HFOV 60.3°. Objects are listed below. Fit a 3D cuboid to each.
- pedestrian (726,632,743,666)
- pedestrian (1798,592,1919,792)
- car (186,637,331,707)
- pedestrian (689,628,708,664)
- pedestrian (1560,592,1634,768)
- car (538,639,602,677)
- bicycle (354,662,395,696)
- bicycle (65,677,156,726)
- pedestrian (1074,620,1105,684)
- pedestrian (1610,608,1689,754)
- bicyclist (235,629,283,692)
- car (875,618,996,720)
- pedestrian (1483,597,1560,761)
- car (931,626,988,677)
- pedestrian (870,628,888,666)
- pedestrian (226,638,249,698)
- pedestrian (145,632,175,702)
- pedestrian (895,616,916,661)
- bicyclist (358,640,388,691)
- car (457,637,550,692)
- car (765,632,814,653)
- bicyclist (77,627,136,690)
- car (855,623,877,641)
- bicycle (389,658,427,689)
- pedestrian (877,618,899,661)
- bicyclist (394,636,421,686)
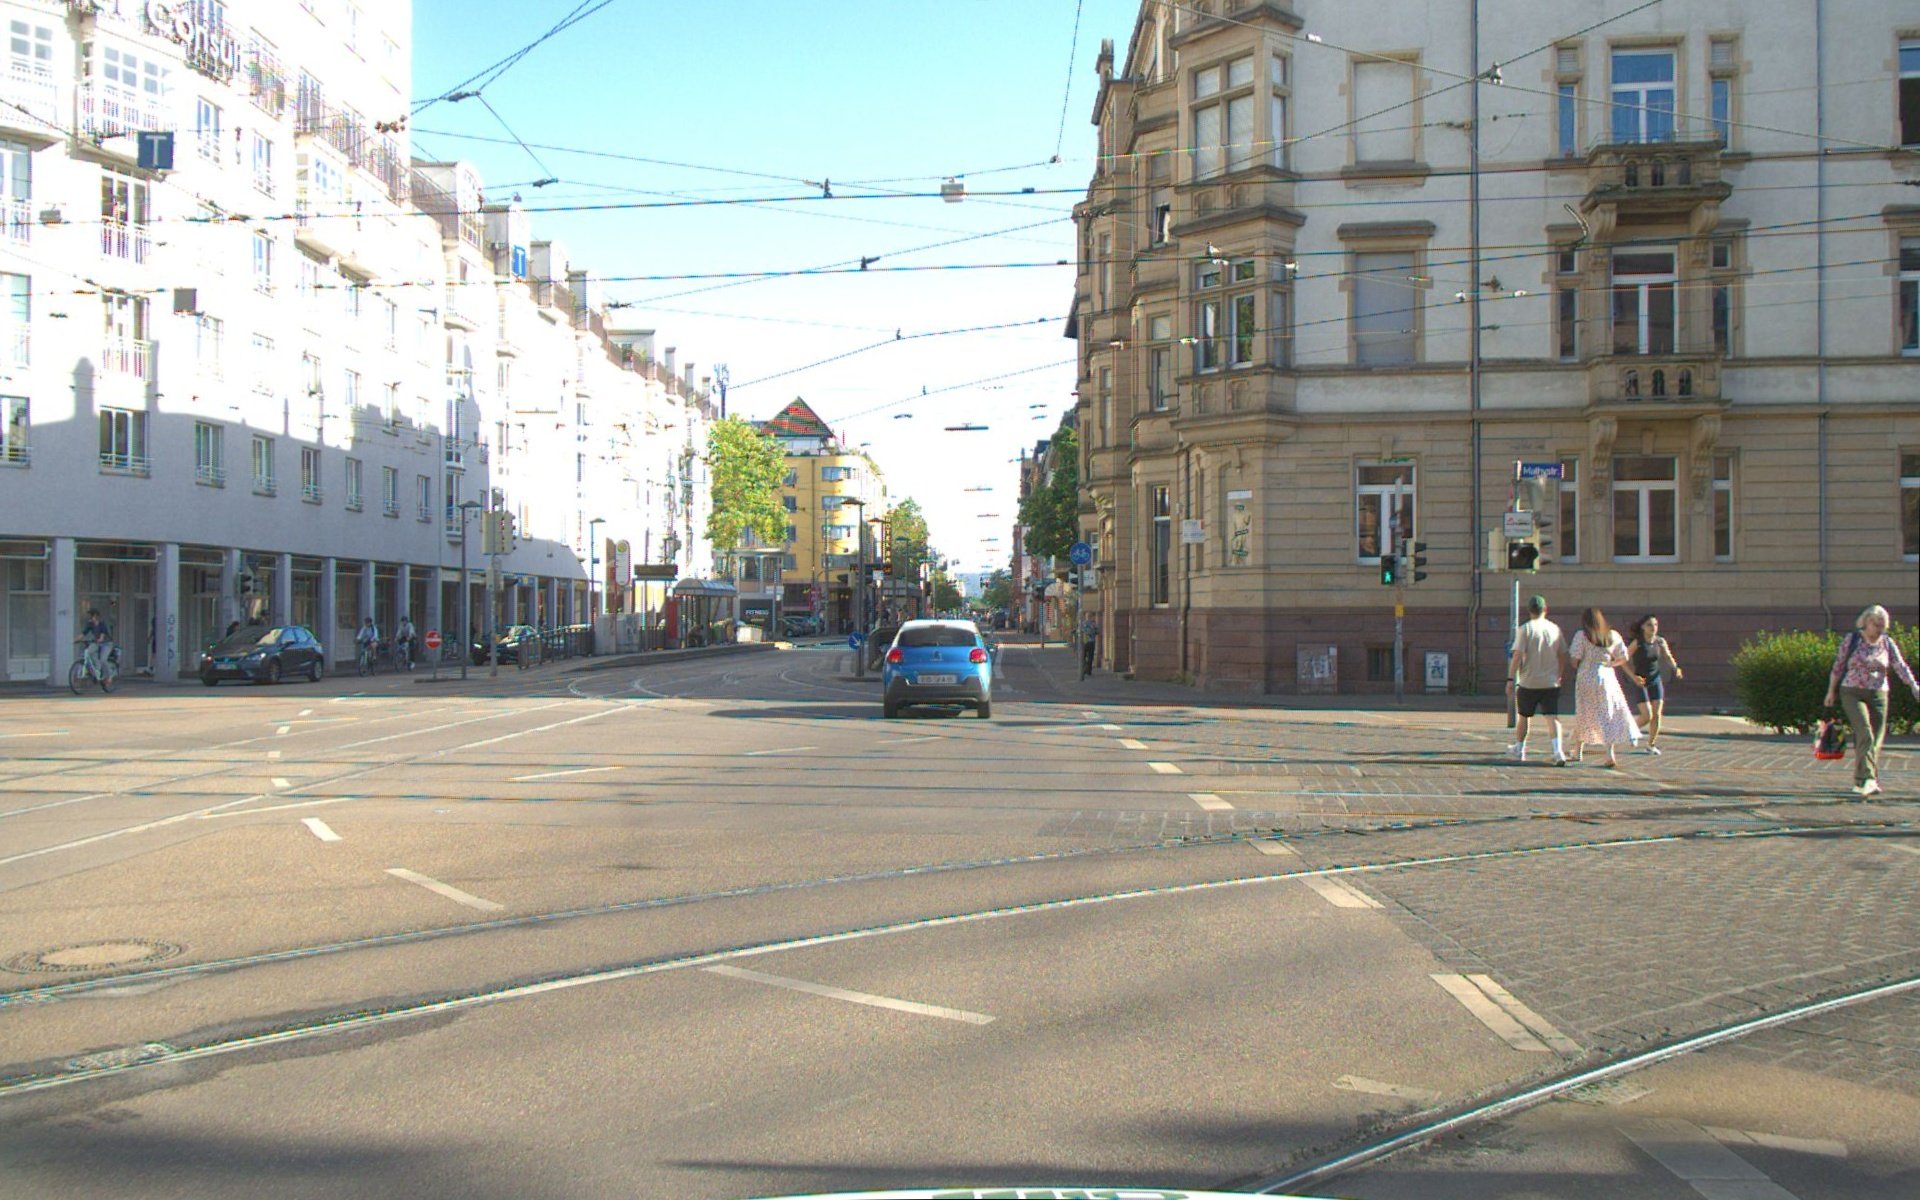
[{"bbox_3d":[-10.520,2.292,77.146,0.716,1.586,0.743,0,0,0],"label":"pedestrian"},{"bbox_3d":[7.863,0.783,14.368,0.906,1.661,0.939,-2,-2,33],"label":"pedestrian"},{"bbox_3d":[-17.366,1.765,41.161,1.953,1.624,3.998,-1,-2,-1],"label":"car"},{"bbox_3d":[-11.477,2.017,72.624,0.716,1.554,0.743,0,0,0],"label":"pedestrian"},{"bbox_3d":[6.635,0.824,17.255,0.629,1.776,0.706,1,-2,14],"label":"pedestrian"},{"bbox_3d":[-16.644,2.446,70.771,1.693,1.541,4.404,0,-1,0],"label":"car"},{"bbox_3d":[-17.830,2.407,50.416,0.582,0.989,2.011,-1,-2,-1],"label":"bicycle"},{"bbox_3d":[-18.118,2.149,35.317,0.581,0.989,1.855,-1,-2,18],"label":"bicycle"},{"bbox_3d":[3.672,1.468,47.068,0.764,1.780,1.093,0,1,-1],"label":"pedestrian"},{"bbox_3d":[7.667,0.889,18.375,0.621,1.564,0.939,-2,-2,33],"label":"pedestrian"},{"bbox_3d":[-19.647,1.683,46.387,0.708,1.725,1.027,-1,-1,29],"label":"bicyclist"},{"bbox_3d":[-0.326,1.042,26.386,1.744,1.476,3.654,1,-1,1],"label":"car"},{"bbox_3d":[5.926,0.827,17.447,0.686,1.684,0.631,-2,-2,23],"label":"pedestrian"},{"bbox_3d":[0.014,1.910,60.779,1.952,1.773,4.000,1,-2,1],"label":"car"},{"bbox_3d":[-3.394,1.961,69.244,0.575,1.589,0.468,-1,-1,37],"label":"pedestrian"},{"bbox_3d":[-19.345,1.822,44.272,0.437,1.561,0.675,0,0,-35],"label":"pedestrian"},{"bbox_3d":[-21.866,1.830,45.195,0.451,1.865,0.746,0,0,0],"label":"pedestrian"},{"bbox_3d":[-2.145,1.504,64.785,0.623,1.727,0.934,1,-2,8],"label":"pedestrian"},{"bbox_3d":[-17.849,1.995,50.310,0.576,1.514,0.927,-1,-2,-1],"label":"bicyclist"},{"bbox_3d":[-17.015,2.368,61.943,2.181,1.944,4.608,0,-1,0],"label":"car"},{"bbox_3d":[-14.063,3.477,136.345,3.907,1.704,1.957,0,-1,-2],"label":"car"},{"bbox_3d":[-18.166,1.240,35.219,0.576,1.308,0.992,-1,-2,19],"label":"bicyclist"},{"bbox_3d":[-9.736,3.314,171.621,1.952,1.773,4.000,1,-2,1],"label":"car"},{"bbox_3d":[-18.091,2.403,54.271,0.582,0.989,2.047,-1,-2,-1],"label":"bicycle"},{"bbox_3d":[-3.015,1.669,69.517,0.705,1.809,0.563,-1,-1,37],"label":"pedestrian"},{"bbox_3d":[-18.084,1.986,54.166,0.576,1.613,0.895,-1,-2,-1],"label":"bicyclist"}]
